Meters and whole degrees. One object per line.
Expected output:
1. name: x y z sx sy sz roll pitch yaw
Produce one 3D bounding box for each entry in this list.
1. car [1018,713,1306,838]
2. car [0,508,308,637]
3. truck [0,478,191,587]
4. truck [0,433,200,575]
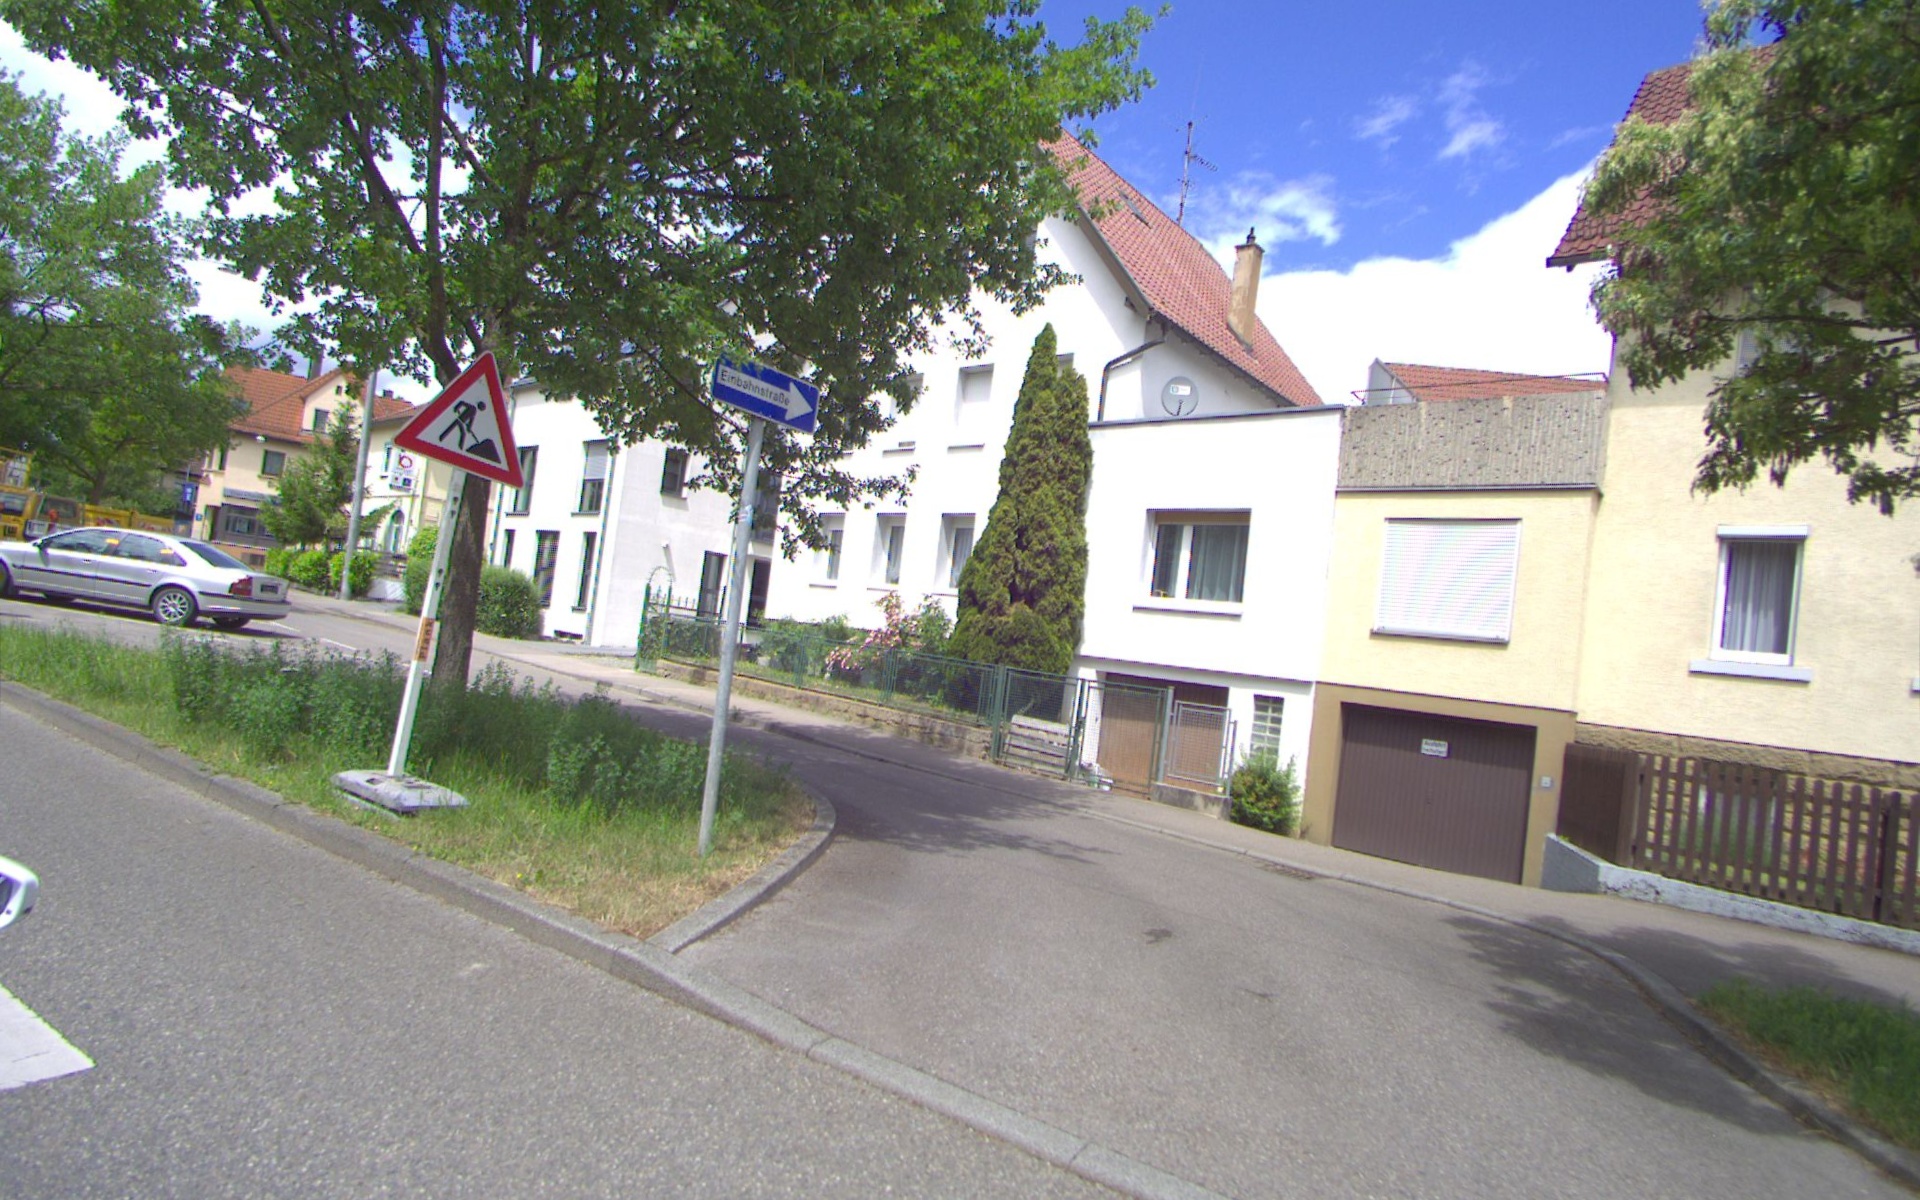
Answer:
1. car: 2.835 2.496 14.630 3.821 1.135 1.462 4 -7 43
2. car: -14.031 -0.464 16.967 4.613 1.467 1.767 10 -3 -10
3. truck: -23.883 -1.893 26.196 5.584 2.033 2.001 9 -5 -9
4. truck: -26.253 -2.887 28.493 6.602 3.037 2.769 10 -5 -12
